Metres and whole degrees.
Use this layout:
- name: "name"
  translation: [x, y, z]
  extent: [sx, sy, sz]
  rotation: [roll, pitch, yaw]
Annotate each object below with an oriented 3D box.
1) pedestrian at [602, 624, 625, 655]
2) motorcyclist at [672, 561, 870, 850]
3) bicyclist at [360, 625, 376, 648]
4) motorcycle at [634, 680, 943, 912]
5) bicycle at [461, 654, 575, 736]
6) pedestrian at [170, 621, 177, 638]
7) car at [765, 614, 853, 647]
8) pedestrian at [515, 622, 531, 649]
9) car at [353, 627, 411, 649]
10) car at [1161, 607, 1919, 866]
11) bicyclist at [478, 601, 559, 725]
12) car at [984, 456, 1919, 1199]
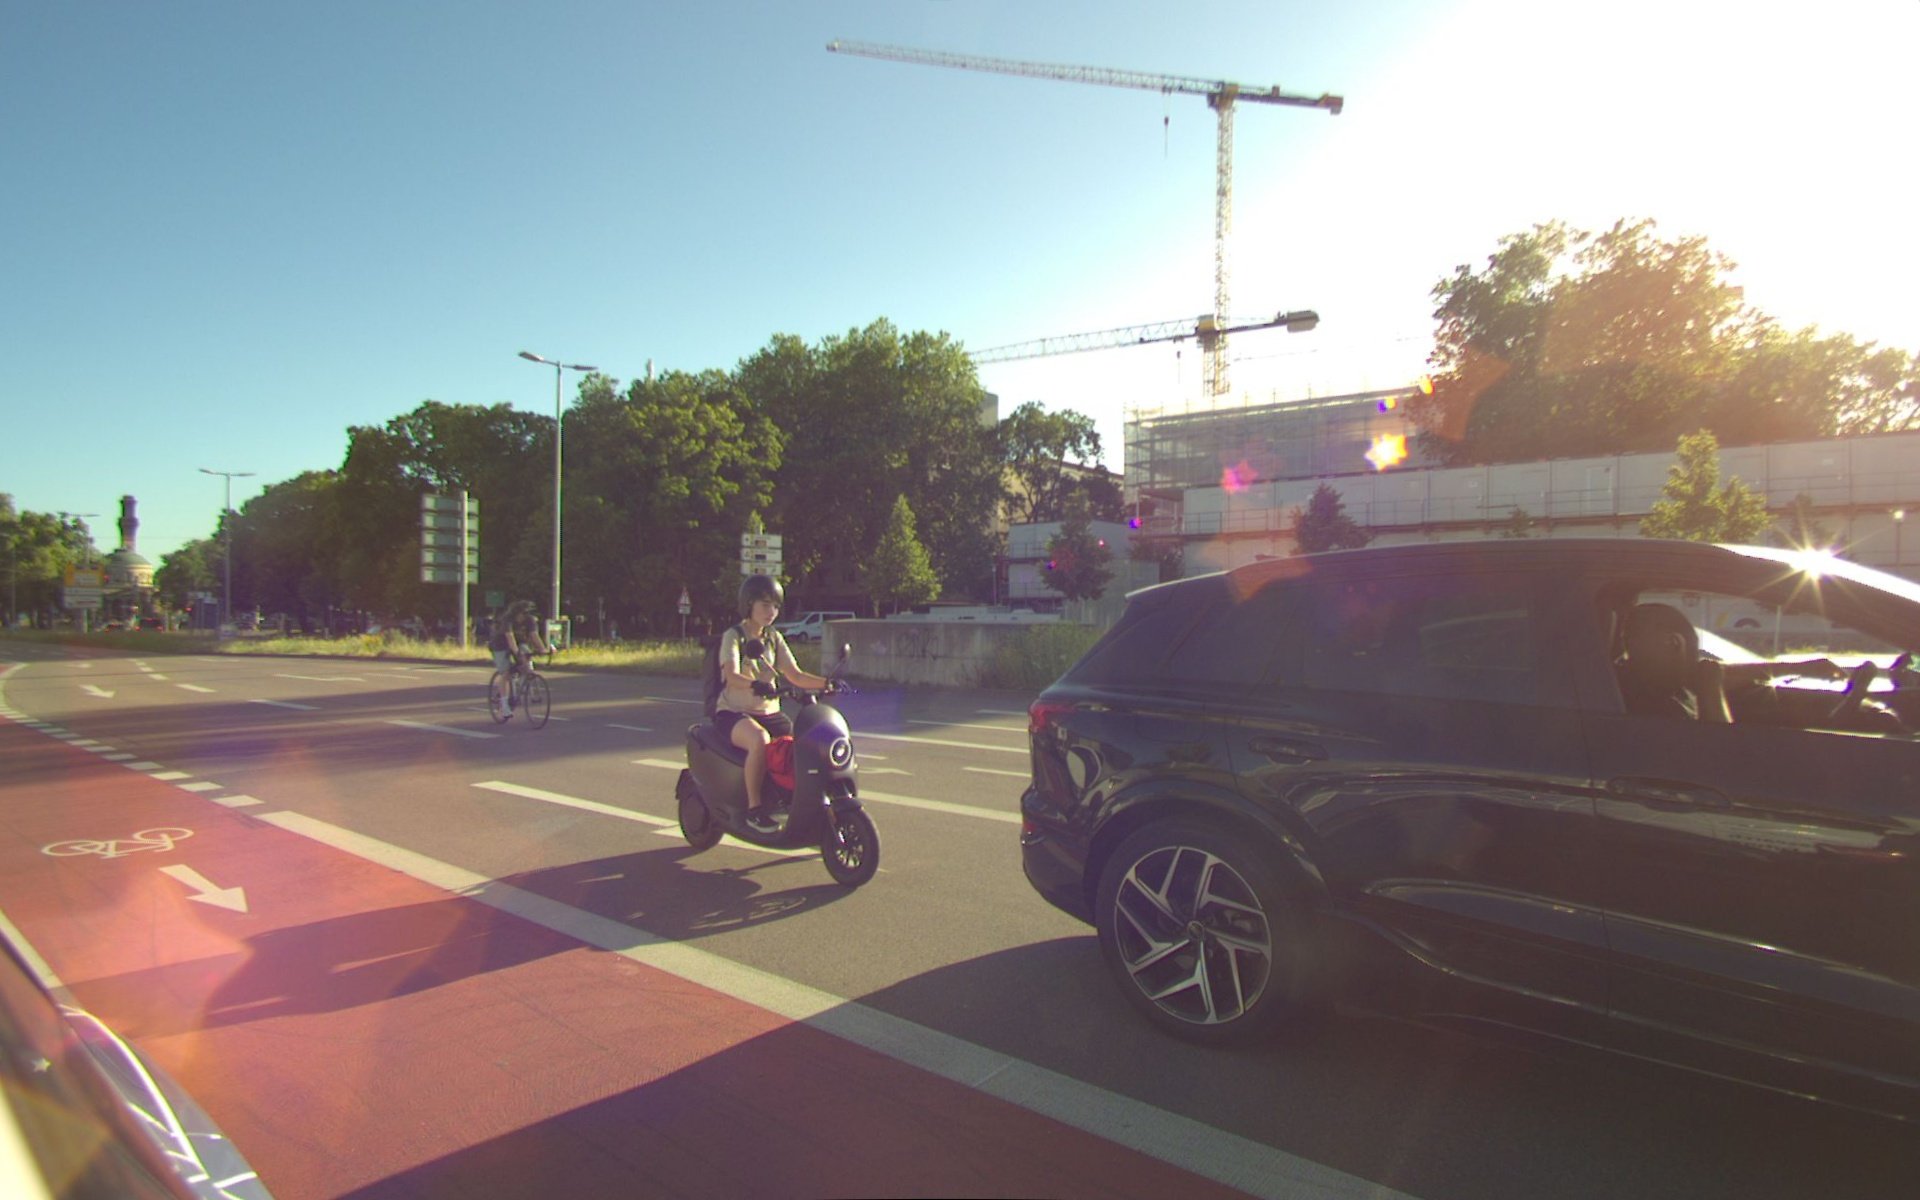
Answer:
- name: "pedestrian"
  translation: [-20.899, 2.359, 61.019]
  extent: [0.964, 1.796, 0.984]
  rotation: [-1, 0, 41]
- name: "motorcyclist"
  translation: [-1.093, 0.552, 5.816]
  extent: [0.746, 1.495, 0.882]
  rotation: [0, -1, -45]
- name: "bicyclist"
  translation: [-36.081, 2.211, 61.637]
  extent: [0.768, 1.377, 0.609]
  rotation: [-1, -2, 41]
- name: "motorcycle"
  translation: [-1.045, 1.006, 5.764]
  extent: [0.746, 0.976, 1.961]
  rotation: [0, -1, -45]
- name: "bicycle"
  translation: [-5.694, 1.179, 12.975]
  extent: [1.910, 0.915, 0.616]
  rotation: [-1, -1, 42]
- name: "pedestrian"
  translation: [-96.625, 3.656, 124.355]
  extent: [0.594, 2.029, 0.519]
  rotation: [-1, -2, 38]
- name: "car"
  translation: [-9.139, 1.847, 61.671]
  extent: [2.000, 1.906, 5.256]
  rotation: [-2, -3, 42]
- name: "pedestrian"
  translation: [-28.201, 2.303, 65.305]
  extent: [0.697, 1.740, 0.656]
  rotation: [-1, -2, 41]
- name: "car"
  translation: [-31.857, 2.093, 55.748]
  extent: [3.767, 1.141, 1.598]
  rotation: [-1, -1, 40]
- name: "car"
  translation: [3.929, 0.758, 7.479]
  extent: [4.522, 1.362, 1.753]
  rotation: [-1, -1, 40]
- name: "bicyclist"
  translation: [-5.656, 0.777, 12.944]
  extent: [0.937, 1.515, 0.616]
  rotation: [-1, -1, 42]
- name: "car"
  translation: [2.620, 0.549, 3.109]
  extent: [4.786, 1.675, 2.172]
  rotation: [-1, -2, 39]
